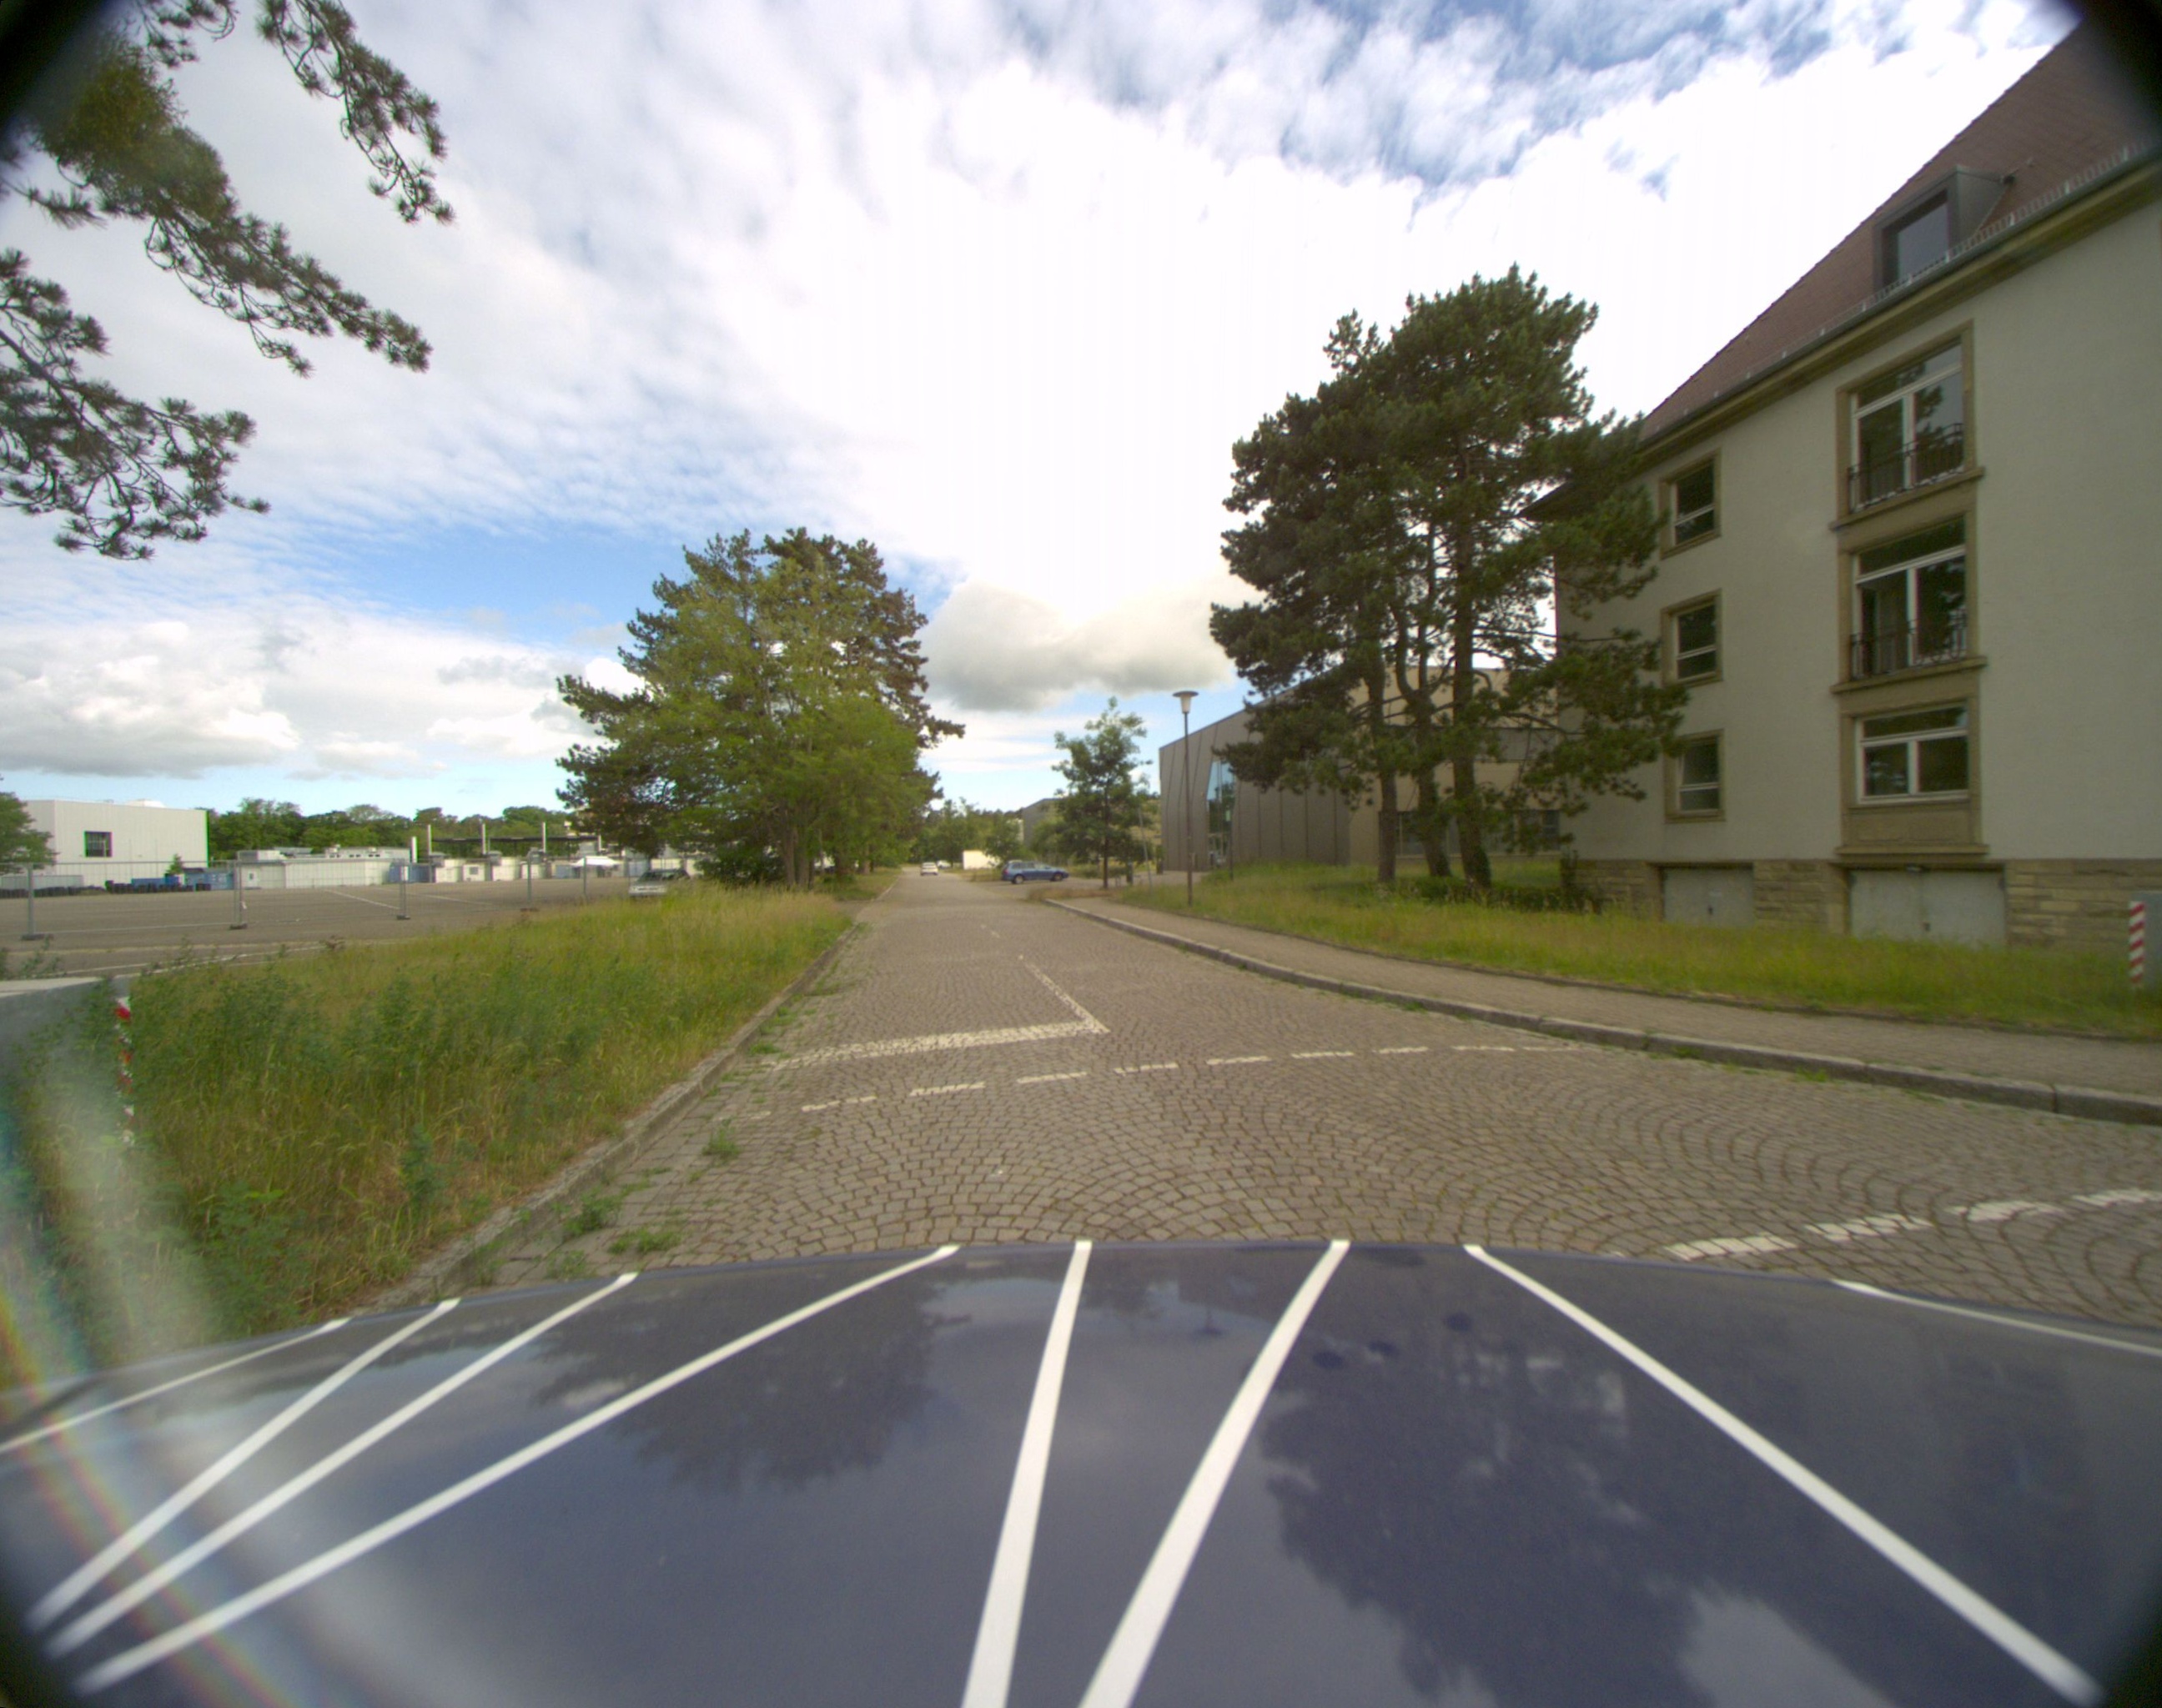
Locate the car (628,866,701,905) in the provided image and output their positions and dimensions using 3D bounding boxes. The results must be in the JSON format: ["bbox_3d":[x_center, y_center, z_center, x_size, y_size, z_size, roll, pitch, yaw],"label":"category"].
[{"bbox_3d":[-18.041,1.312,33.102,1.680,1.442,4.483,-2,0,-15],"label":"car"}]

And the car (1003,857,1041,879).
[{"bbox_3d":[-4.540,1.045,58.313,2.587,1.521,1.498,-3,1,-14],"label":"car"}]

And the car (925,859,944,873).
[{"bbox_3d":[-16.707,1.339,86.545,1.780,1.429,4.212,1,-1,-15],"label":"car"}]

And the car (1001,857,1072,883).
[{"bbox_3d":[-3.007,1.040,51.112,4.431,1.461,1.631,-3,1,-14],"label":"car"}]

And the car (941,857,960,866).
[{"bbox_3d":[-28.803,1.696,167.980,4.066,1.767,1.791,-2,1,-13],"label":"car"}]
